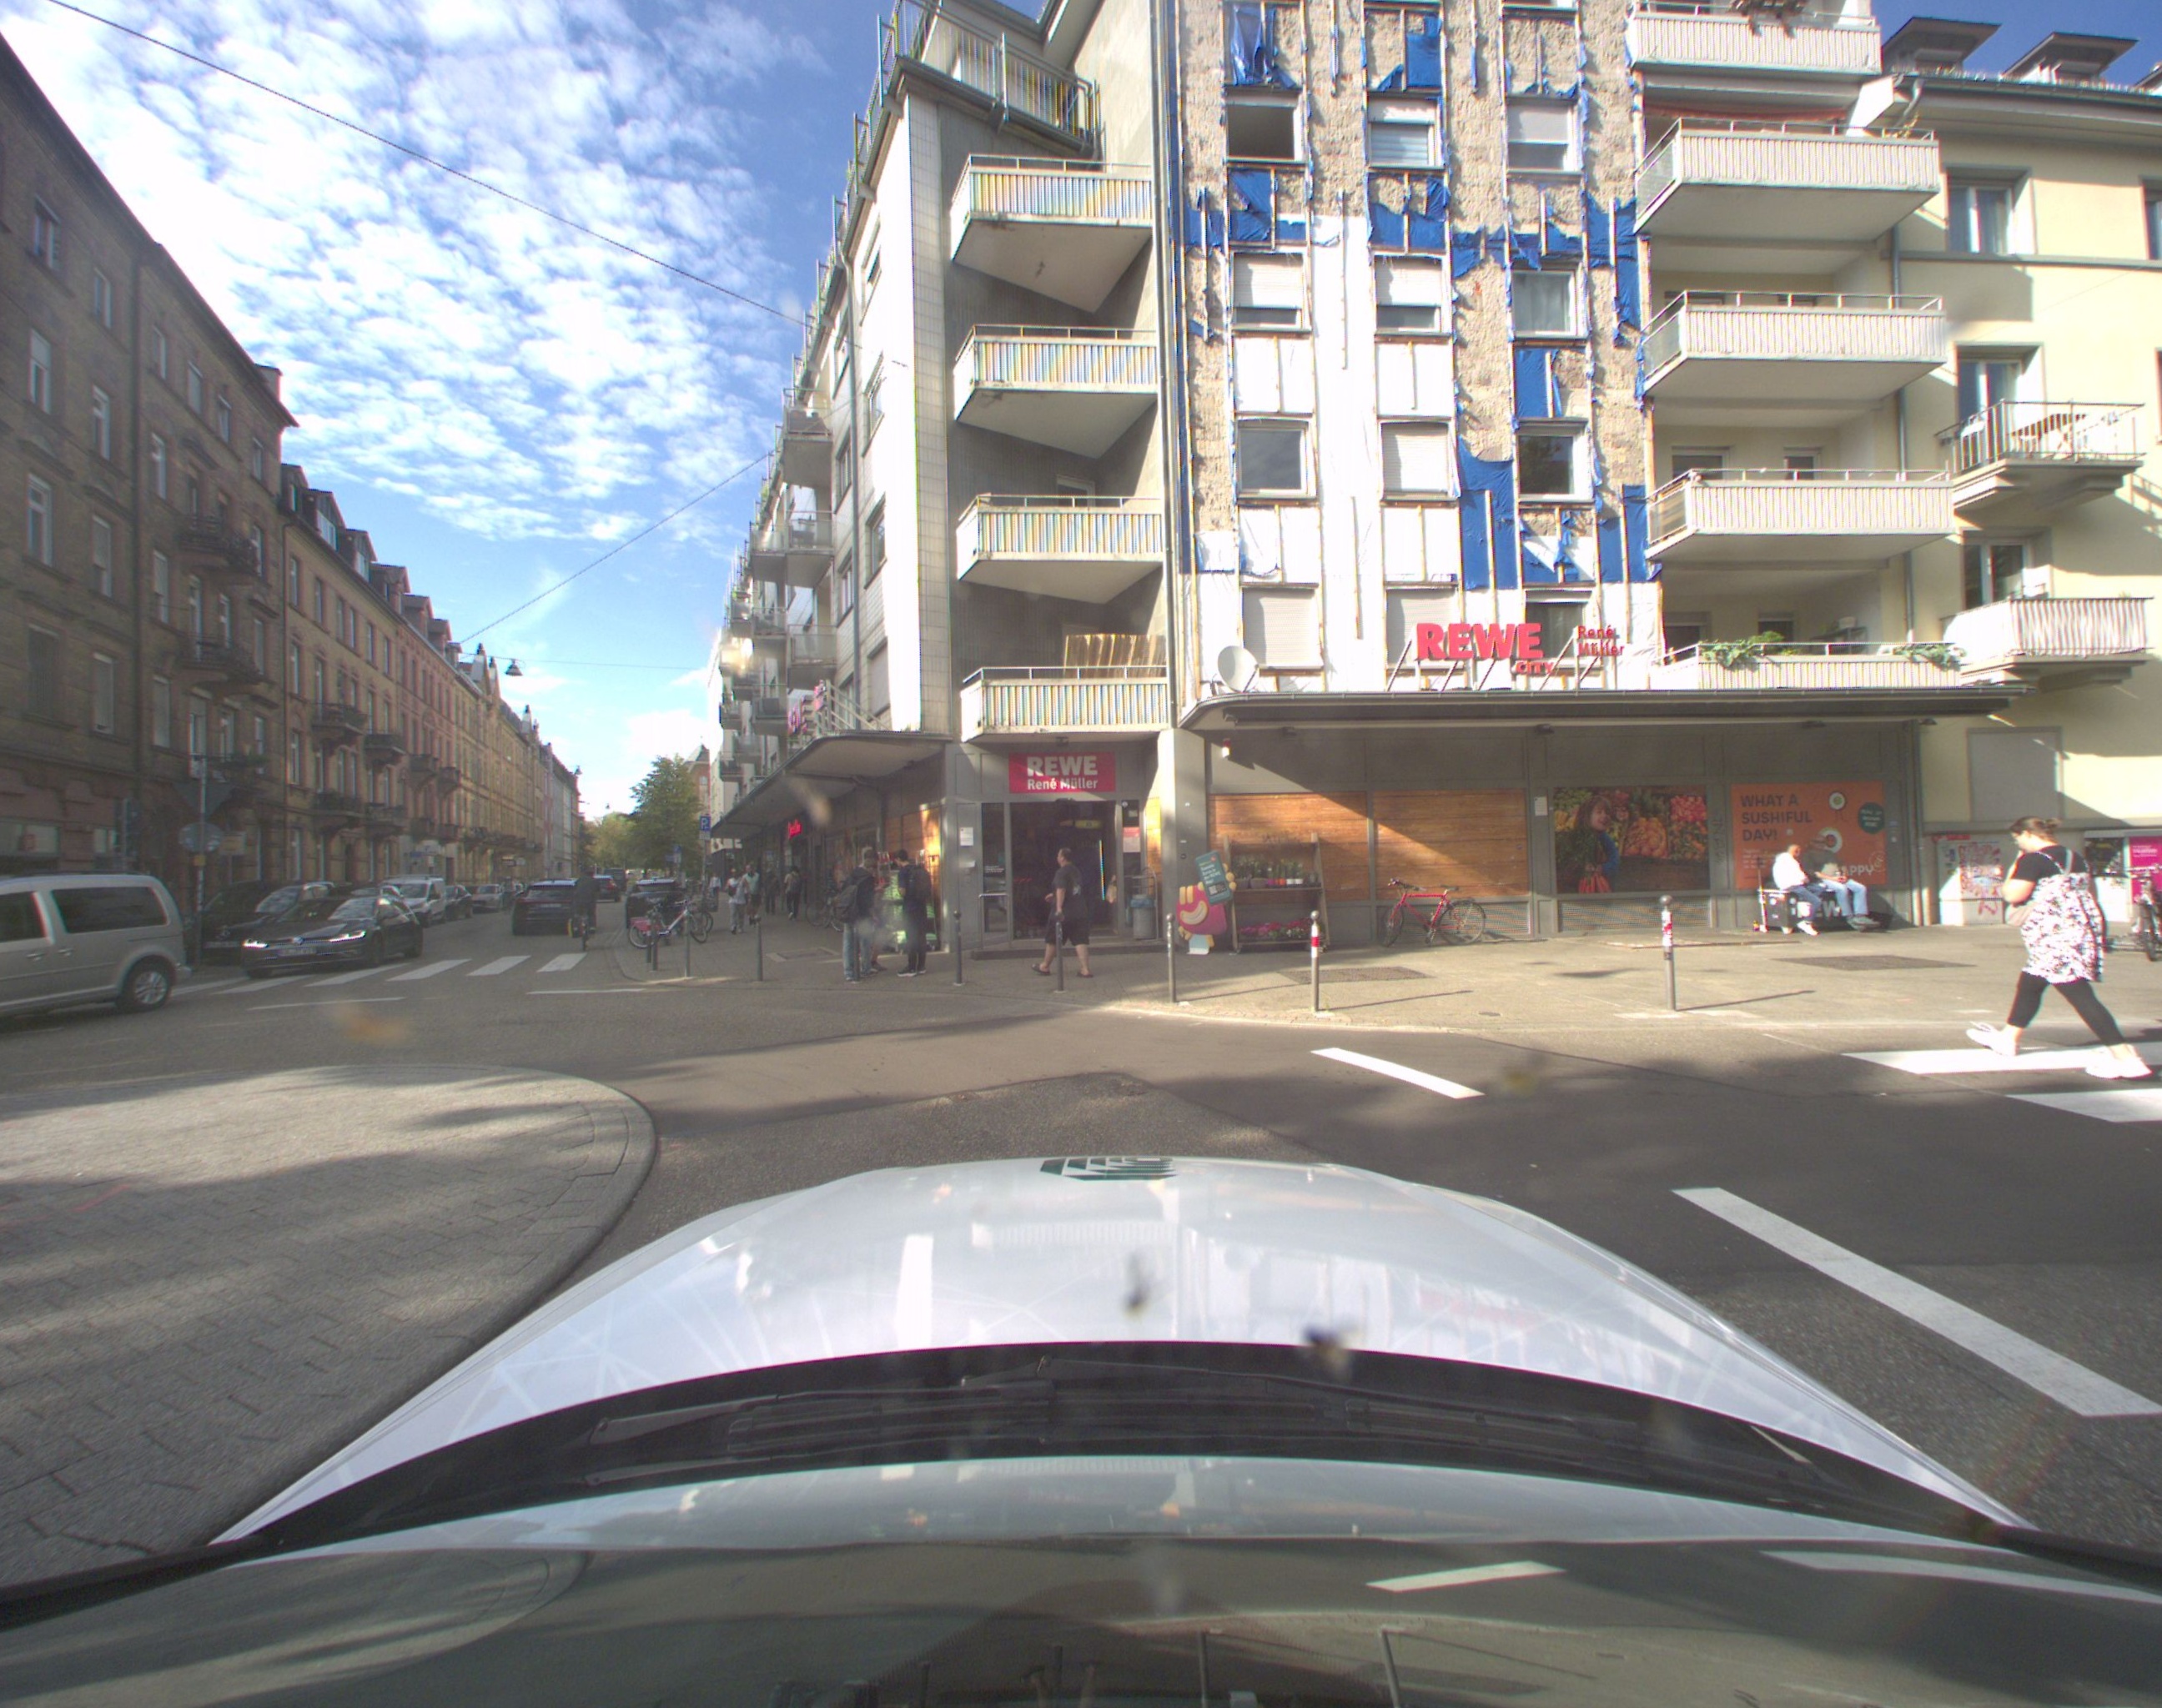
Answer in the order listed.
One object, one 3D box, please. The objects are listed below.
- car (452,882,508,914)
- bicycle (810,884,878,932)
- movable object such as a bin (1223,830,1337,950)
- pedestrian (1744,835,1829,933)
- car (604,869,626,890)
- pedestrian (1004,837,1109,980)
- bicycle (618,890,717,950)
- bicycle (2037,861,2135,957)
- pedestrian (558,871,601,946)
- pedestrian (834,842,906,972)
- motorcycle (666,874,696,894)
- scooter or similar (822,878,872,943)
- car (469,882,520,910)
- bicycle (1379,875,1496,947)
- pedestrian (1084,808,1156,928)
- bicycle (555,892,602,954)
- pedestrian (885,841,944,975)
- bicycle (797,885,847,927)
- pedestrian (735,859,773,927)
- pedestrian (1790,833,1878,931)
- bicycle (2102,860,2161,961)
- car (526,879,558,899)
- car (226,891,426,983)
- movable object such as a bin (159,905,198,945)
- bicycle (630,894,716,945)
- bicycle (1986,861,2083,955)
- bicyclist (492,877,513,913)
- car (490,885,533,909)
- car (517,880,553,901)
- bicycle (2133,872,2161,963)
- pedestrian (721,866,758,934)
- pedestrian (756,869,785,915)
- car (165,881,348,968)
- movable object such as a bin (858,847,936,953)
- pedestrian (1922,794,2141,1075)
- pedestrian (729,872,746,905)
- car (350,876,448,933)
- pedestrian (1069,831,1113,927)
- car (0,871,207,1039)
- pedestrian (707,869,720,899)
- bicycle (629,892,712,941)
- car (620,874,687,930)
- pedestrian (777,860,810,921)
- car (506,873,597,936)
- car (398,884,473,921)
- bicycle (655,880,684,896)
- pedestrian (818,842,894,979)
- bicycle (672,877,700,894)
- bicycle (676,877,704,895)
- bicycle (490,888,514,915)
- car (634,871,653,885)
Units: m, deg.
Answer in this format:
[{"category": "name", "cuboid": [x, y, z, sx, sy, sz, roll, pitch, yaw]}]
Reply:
[{"category": "car", "cuboid": [-31.354, 2.261, 42.595, 1.751, 1.484, 3.947, 1, -1, -27]}, {"category": "bicycle", "cuboid": [-5.514, 1.255, 18.890, 1.712, 1.043, 0.682, -4, -2, 42]}, {"category": "movable object such as a bin", "cuboid": [3.043, 0.524, 12.523, 1.542, 1.754, 0.689, -1, 1, -6]}, {"category": "pedestrian", "cuboid": [11.316, 0.468, 13.085, 0.751, 1.506, 0.666, -1, -1, -9]}, {"category": "car", "cuboid": [-45.125, 2.435, 78.907, 1.792, 2.020, 3.851, 0, -1, -29]}, {"category": "pedestrian", "cuboid": [-0.335, 0.686, 10.832, 0.856, 1.746, 1.037, -4, 1, -38]}, {"category": "bicycle", "cuboid": [-9.363, 1.472, 18.437, 1.895, 1.125, 0.899, -4, 1, -30]}, {"category": "bicycle", "cuboid": [12.814, 0.665, 10.374, 1.702, 1.086, 0.417, -3, 0, -27]}, {"category": "pedestrian", "cuboid": [-11.389, 1.217, 18.518, 0.722, 1.650, 0.922, 1, -2, -27]}, {"category": "pedestrian", "cuboid": [-3.049, 0.745, 11.815, 0.709, 1.797, 0.633, -3, 1, 5]}, {"category": "motorcycle", "cuboid": [-34.273, 2.568, 69.806, 2.160, 1.530, 0.681, -3, 1, -24]}, {"category": "scooter or similar", "cuboid": [-4.764, 1.129, 16.560, 0.636, 1.213, 1.243, -3, 0, -30]}, {"category": "car", "cuboid": [-33.439, 2.342, 46.513, 1.751, 1.484, 3.947, 1, -1, -27]}, {"category": "bicycle", "cuboid": [5.437, 0.868, 12.478, 1.522, 1.033, 0.584, -1, 1, 6]}, {"category": "pedestrian", "cuboid": [0.703, 0.241, 14.300, 1.023, 2.013, 0.867, -2, 1, 16]}, {"category": "bicycle", "cuboid": [-11.333, 1.524, 18.424, 0.722, 1.274, 1.867, 1, -1, -27]}, {"category": "pedestrian", "cuboid": [-2.360, 0.733, 11.500, 0.654, 1.797, 0.655, -4, 2, -15]}, {"category": "bicycle", "cuboid": [-6.978, 1.370, 21.859, 0.747, 1.015, 1.764, -4, 0, -34]}, {"category": "pedestrian", "cuboid": [-9.316, 1.100, 23.229, 0.887, 1.834, 1.040, -3, 0, -20]}, {"category": "pedestrian", "cuboid": [12.070, 0.439, 13.074, 0.665, 1.506, 0.752, -1, -1, -6]}, {"category": "bicycle", "cuboid": [13.040, 0.655, 9.914, 1.702, 1.086, 0.417, -3, 0, -27]}, {"category": "car", "cuboid": [-42.224, 2.713, 63.837, 1.699, 1.437, 3.832, 1, -1, -27]}, {"category": "car", "cuboid": [-14.601, 1.516, 16.037, 1.801, 1.438, 3.964, -3, -1, -27]}, {"category": "movable object such as a bin", "cuboid": [-17.401, 1.362, 15.709, 0.385, 0.714, 0.471, 1, -2, -32]}, {"category": "bicycle", "cuboid": [-10.191, 1.610, 20.371, 1.802, 1.070, 0.562, -3, 1, -38]}, {"category": "bicycle", "cuboid": [12.489, 0.671, 10.655, 1.702, 1.086, 0.417, -3, 0, -27]}, {"category": "bicyclist", "cuboid": [-27.720, 1.968, 39.038, 0.705, 1.678, 1.102, 1, -2, -30]}, {"category": "car", "cuboid": [-35.815, 2.674, 51.287, 1.699, 1.387, 3.832, 1, -1, -27]}, {"category": "car", "cuboid": [-39.484, 2.611, 58.947, 1.699, 1.387, 3.832, 1, -1, -27]}, {"category": "bicycle", "cuboid": [13.020, 0.720, 9.495, 1.500, 1.019, 0.411, -1, 0, -17]}, {"category": "pedestrian", "cuboid": [-8.832, 1.175, 21.037, 0.806, 1.671, 1.013, -1, -2, -26]}, {"category": "pedestrian", "cuboid": [-10.996, 1.337, 28.835, 0.828, 1.588, 0.774, -1, -1, -26]}, {"category": "car", "cuboid": [-18.999, 1.520, 19.028, 1.770, 1.774, 4.364, 2, -2, -29]}, {"category": "movable object such as a bin", "cuboid": [-3.364, 0.791, 14.704, 0.784, 1.744, 2.401, -1, -1, -27]}, {"category": "pedestrian", "cuboid": [6.500, 0.502, 5.594, 0.615, 1.753, 0.834, -1, -1, -29]}, {"category": "pedestrian", "cuboid": [-16.815, 1.685, 39.898, 0.647, 1.588, 0.774, -3, 0, -26]}, {"category": "car", "cuboid": [-24.909, 1.760, 29.912, 1.931, 1.871, 4.395, 0, -1, -29]}, {"category": "pedestrian", "cuboid": [0.184, 0.456, 15.501, 0.761, 1.753, 0.930, -1, -1, -1]}, {"category": "car", "cuboid": [-12.611, 1.141, 8.959, 1.830, 1.791, 4.314, -3, 0, -11]}, {"category": "pedestrian", "cuboid": [-22.349, 1.817, 49.557, 0.615, 1.726, 1.116, -2, 0, -27]}, {"category": "bicycle", "cuboid": [-10.552, 1.591, 20.960, 1.802, 1.070, 0.580, -3, 1, -38]}, {"category": "car", "cuboid": [-14.573, 1.572, 27.849, 1.803, 1.605, 3.889, -4, 1, -27]}, {"category": "pedestrian", "cuboid": [-8.624, 1.093, 24.411, 0.718, 1.746, 0.809, -4, 1, -30]}, {"category": "car", "cuboid": [-16.280, 1.504, 25.233, 1.976, 1.741, 4.004, 0, -2, -27]}, {"category": "car", "cuboid": [-27.256, 2.028, 34.517, 1.751, 1.484, 3.947, 1, -3, -27]}, {"category": "bicycle", "cuboid": [-29.709, 2.462, 58.857, 1.778, 1.056, 0.407, -4, 1, -33]}, {"category": "pedestrian", "cuboid": [-3.104, 0.760, 11.270, 0.626, 1.797, 0.717, -3, 2, 13]}, {"category": "bicycle", "cuboid": [-29.638, 2.334, 61.108, 1.778, 1.146, 0.407, -4, 1, -34]}, {"category": "bicycle", "cuboid": [-28.391, 2.333, 59.112, 1.775, 1.162, 0.644, -3, 1, -26]}, {"category": "bicycle", "cuboid": [-27.653, 2.264, 38.911, 0.705, 1.220, 2.096, 1, -2, -30]}, {"category": "car", "cuboid": [-53.251, 2.863, 99.073, 1.941, 1.638, 3.964, 0, -1, -27]}]
